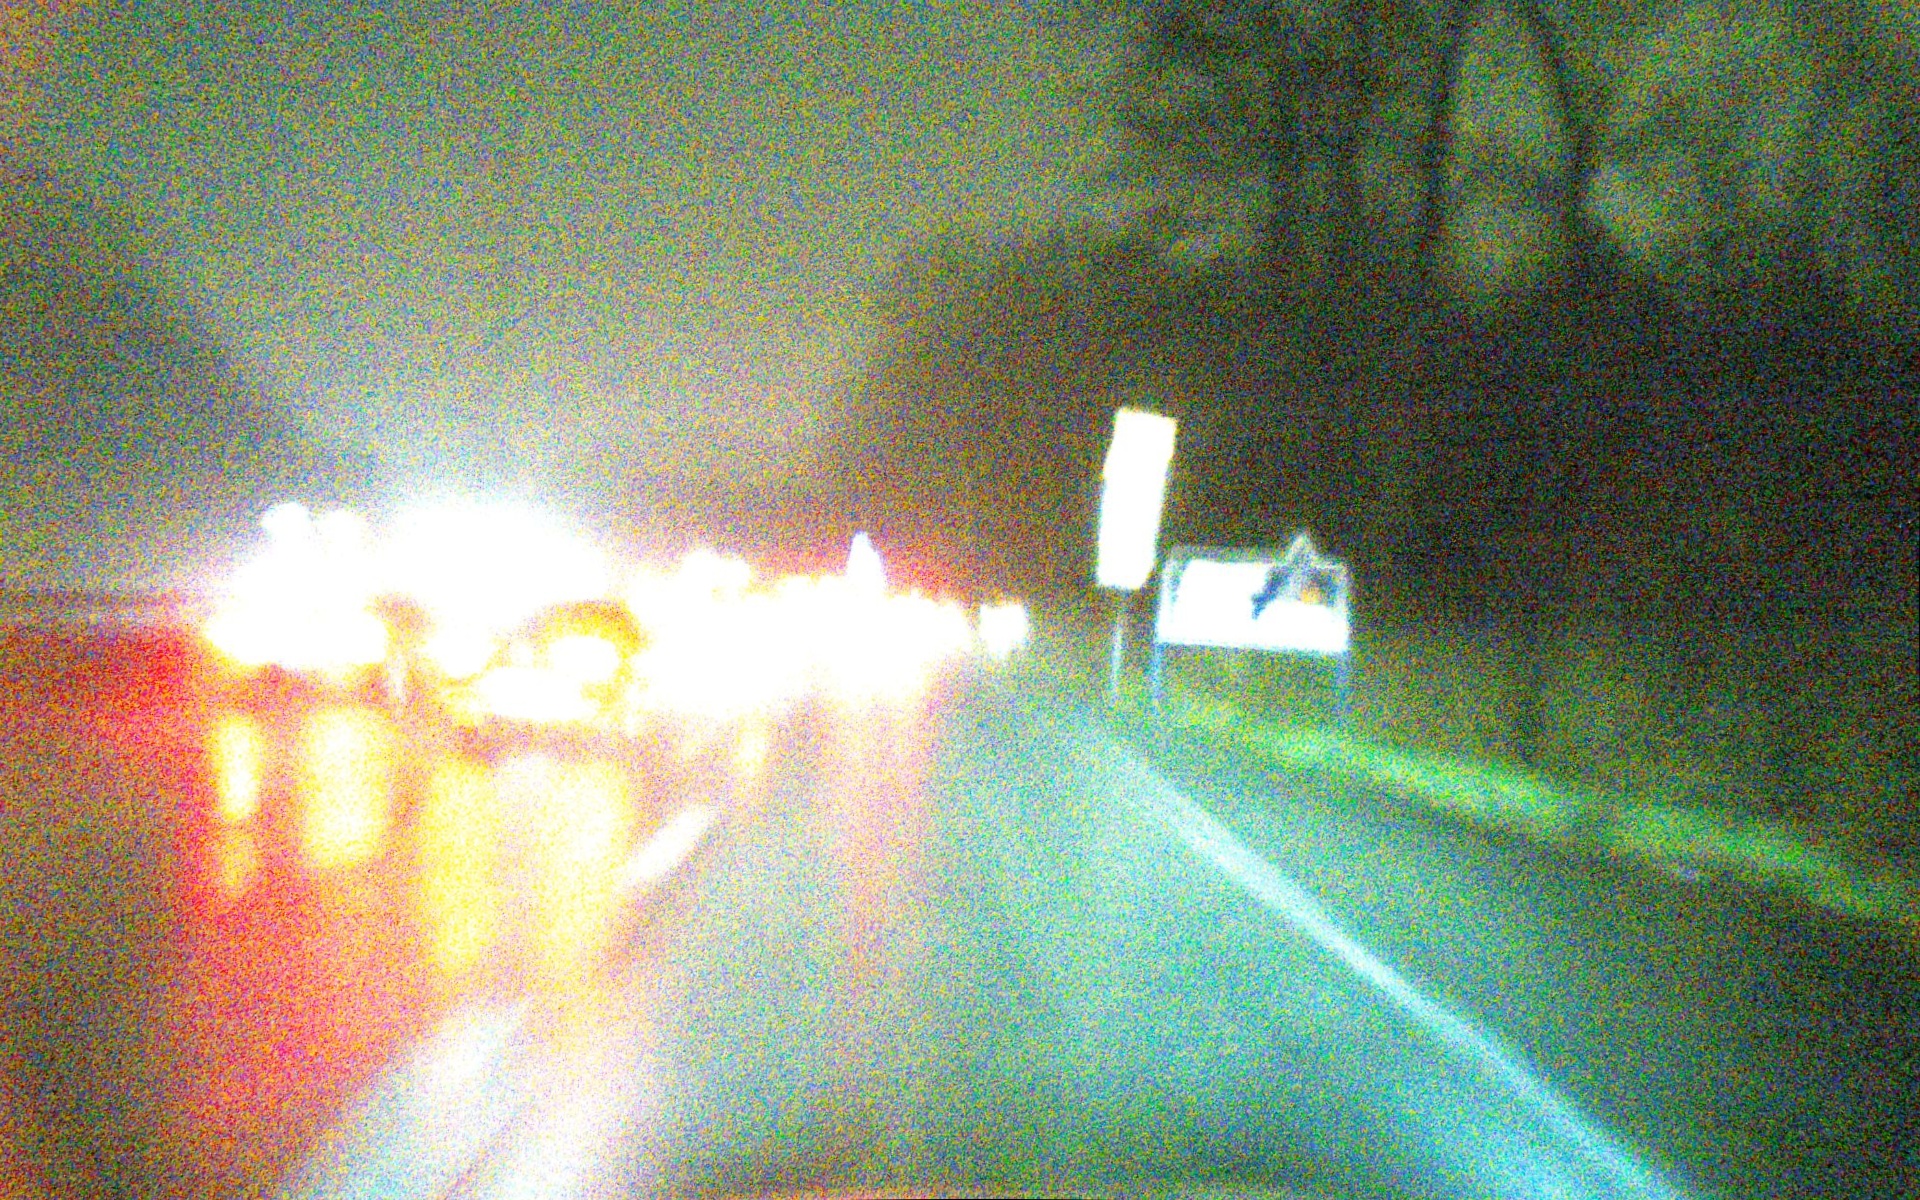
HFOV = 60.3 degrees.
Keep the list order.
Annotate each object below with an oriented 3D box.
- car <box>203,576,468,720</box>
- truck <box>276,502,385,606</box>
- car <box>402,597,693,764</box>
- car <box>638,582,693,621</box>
[{"bbox_3d":[-7.703,0.529,20.943,1.733,1.543,4.911,2,0,-4],"label":"car"},{"bbox_3d":[-22.828,-1.603,60.194,2.556,3.518,4.632,2,-1,-8],"label":"truck"},{"bbox_3d":[-4.061,0.754,16.998,1.922,1.404,4.048,3,-1,0],"label":"car"},{"bbox_3d":[-12.589,0.076,70.871,1.855,1.577,3.996,2,-1,-4],"label":"car"}]
